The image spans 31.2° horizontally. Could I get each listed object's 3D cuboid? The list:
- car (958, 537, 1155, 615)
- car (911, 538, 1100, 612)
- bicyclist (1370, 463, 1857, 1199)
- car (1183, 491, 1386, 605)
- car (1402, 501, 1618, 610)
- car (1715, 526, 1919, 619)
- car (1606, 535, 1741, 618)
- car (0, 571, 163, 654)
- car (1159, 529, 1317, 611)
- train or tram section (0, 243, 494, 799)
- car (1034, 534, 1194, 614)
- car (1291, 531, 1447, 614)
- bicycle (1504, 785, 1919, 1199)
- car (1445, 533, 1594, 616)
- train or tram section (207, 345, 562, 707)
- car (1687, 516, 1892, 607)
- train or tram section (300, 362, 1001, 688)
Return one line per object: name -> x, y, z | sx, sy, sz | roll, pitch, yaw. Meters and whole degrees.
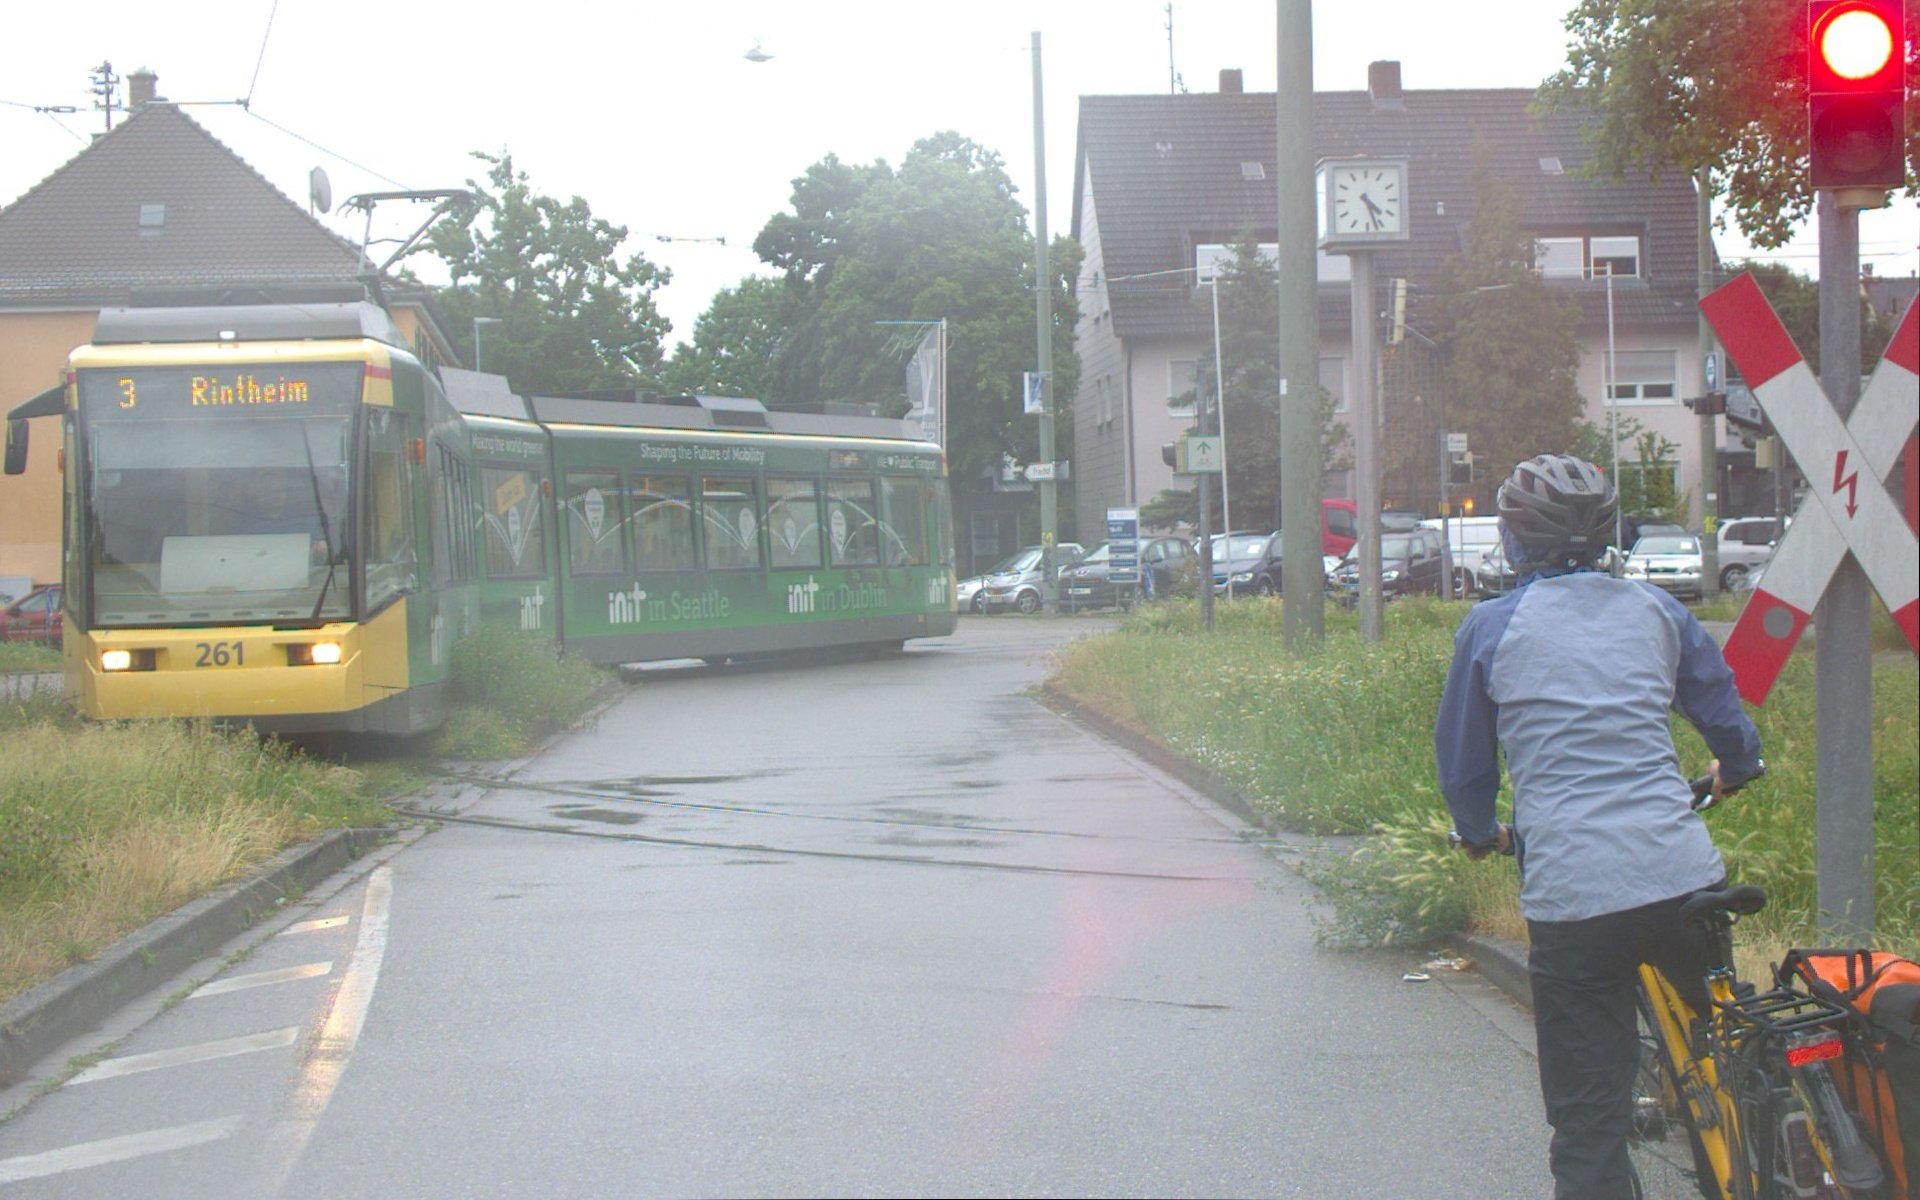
car -> 2.176, -0.537, 76.862 | 3.987, 1.670, 2.000 | 0, 0, -36
car -> 1.066, -0.577, 79.931 | 3.987, 1.637, 2.000 | 0, 0, -36
bicyclist -> 1.137, 0.584, 6.145 | 0.667, 1.620, 0.853 | 1, 0, -2
car -> 7.549, -1.203, 79.800 | 4.398, 2.557, 1.999 | 1, 0, 14
car -> 12.170, -0.988, 76.234 | 4.395, 2.317, 2.000 | 1, 0, -2
car -> 16.355, -0.520, 65.106 | 3.684, 1.695, 1.890 | 1, 0, 0
car -> 14.751, -0.478, 70.967 | 1.843, 1.634, 3.995 | 1, 0, 25
car -> -16.665, 0.217, 62.597 | 3.986, 1.451, 1.834 | 1, 0, -6
car -> 5.810, -0.608, 71.525 | 1.996, 1.634, 3.995 | 1, 0, 25
train or tram section -> -5.446, -0.625, 28.313 | 2.760, 3.541, 12.207 | -1, 1, -6
car -> 3.298, -0.544, 72.771 | 1.996, 1.634, 3.995 | 1, 0, 25
car -> 8.404, -0.562, 70.356 | 1.996, 1.634, 3.995 | 1, 0, 25
bicycle -> 1.350, 0.898, 6.071 | 0.446, 1.001, 1.728 | -1, 1, -2
car -> 11.522, -0.520, 70.577 | 1.996, 1.634, 3.995 | 1, 0, 25
train or tram section -> -5.993, -0.782, 36.581 | 2.760, 3.541, 4.988 | -1, 1, 1
car -> 18.374, -0.846, 76.273 | 3.986, 1.944, 2.000 | 1, 0, -2
train or tram section -> -3.397, -1.002, 43.862 | 2.764, 3.541, 13.117 | -1, 1, 24
